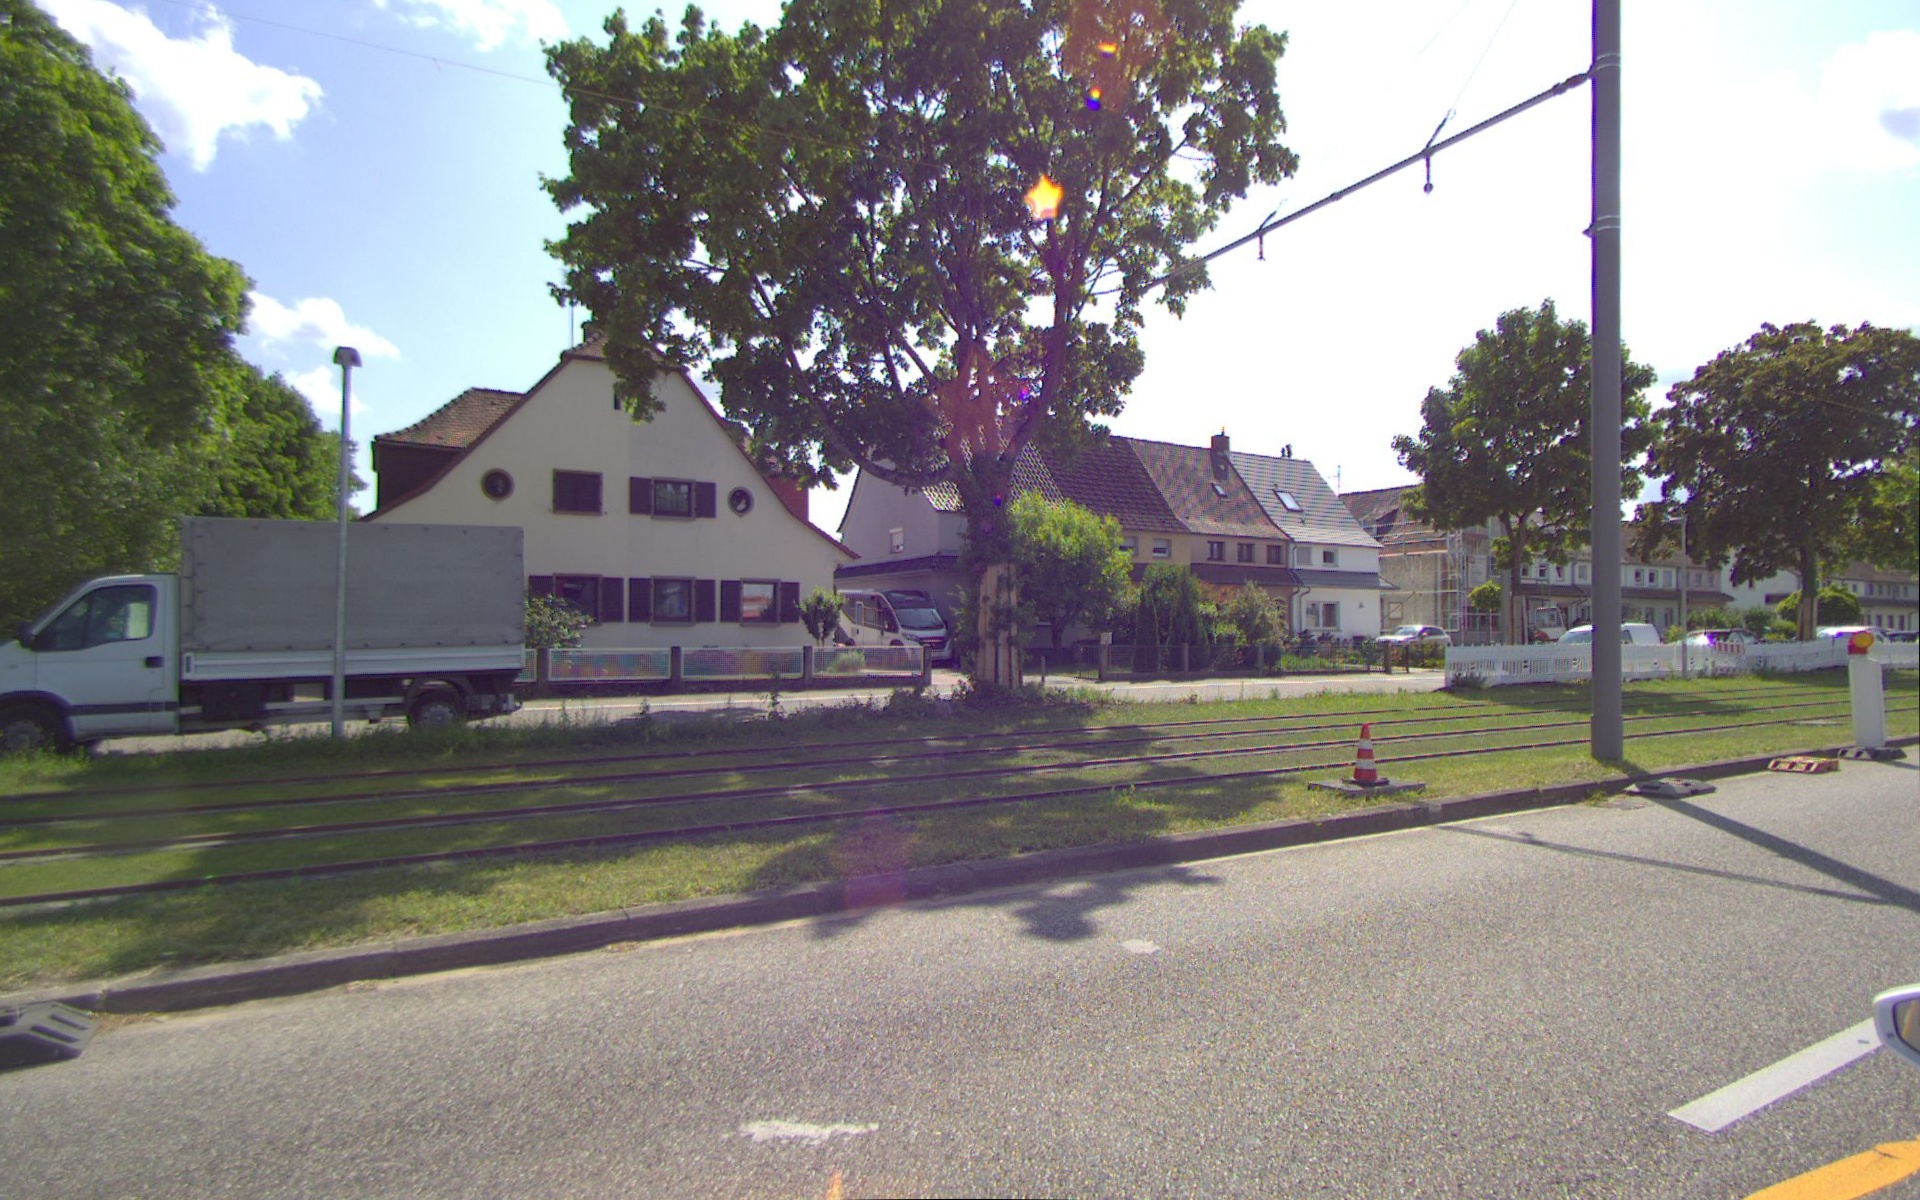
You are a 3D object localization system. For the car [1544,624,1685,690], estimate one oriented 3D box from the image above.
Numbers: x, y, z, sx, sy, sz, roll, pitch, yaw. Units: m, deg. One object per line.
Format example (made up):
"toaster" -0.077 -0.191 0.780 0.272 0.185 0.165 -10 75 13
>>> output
"car" 19.581 1.642 30.021 4.312 1.845 1.768 1 -2 -30

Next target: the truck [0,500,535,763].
"truck" -8.828 0.404 12.973 5.906 2.817 2.255 1 -2 -31

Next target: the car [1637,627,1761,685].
"car" 24.297 1.807 33.005 4.177 1.797 1.768 1 -2 -30

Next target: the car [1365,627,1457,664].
"car" 19.996 1.988 44.499 3.952 1.539 1.768 1 -2 -30

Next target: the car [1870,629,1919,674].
"car" 40.652 2.161 42.701 4.079 1.829 1.768 1 -2 -30

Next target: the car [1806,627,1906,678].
"car" 35.368 2.028 39.644 4.079 1.892 1.768 1 -2 -30

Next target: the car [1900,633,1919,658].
"car" 70.036 3.298 72.751 4.079 1.745 1.768 1 -2 -30

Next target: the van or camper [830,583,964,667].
"van or camper" -2.427 0.937 36.617 2.269 2.801 6.051 1 -2 -32
